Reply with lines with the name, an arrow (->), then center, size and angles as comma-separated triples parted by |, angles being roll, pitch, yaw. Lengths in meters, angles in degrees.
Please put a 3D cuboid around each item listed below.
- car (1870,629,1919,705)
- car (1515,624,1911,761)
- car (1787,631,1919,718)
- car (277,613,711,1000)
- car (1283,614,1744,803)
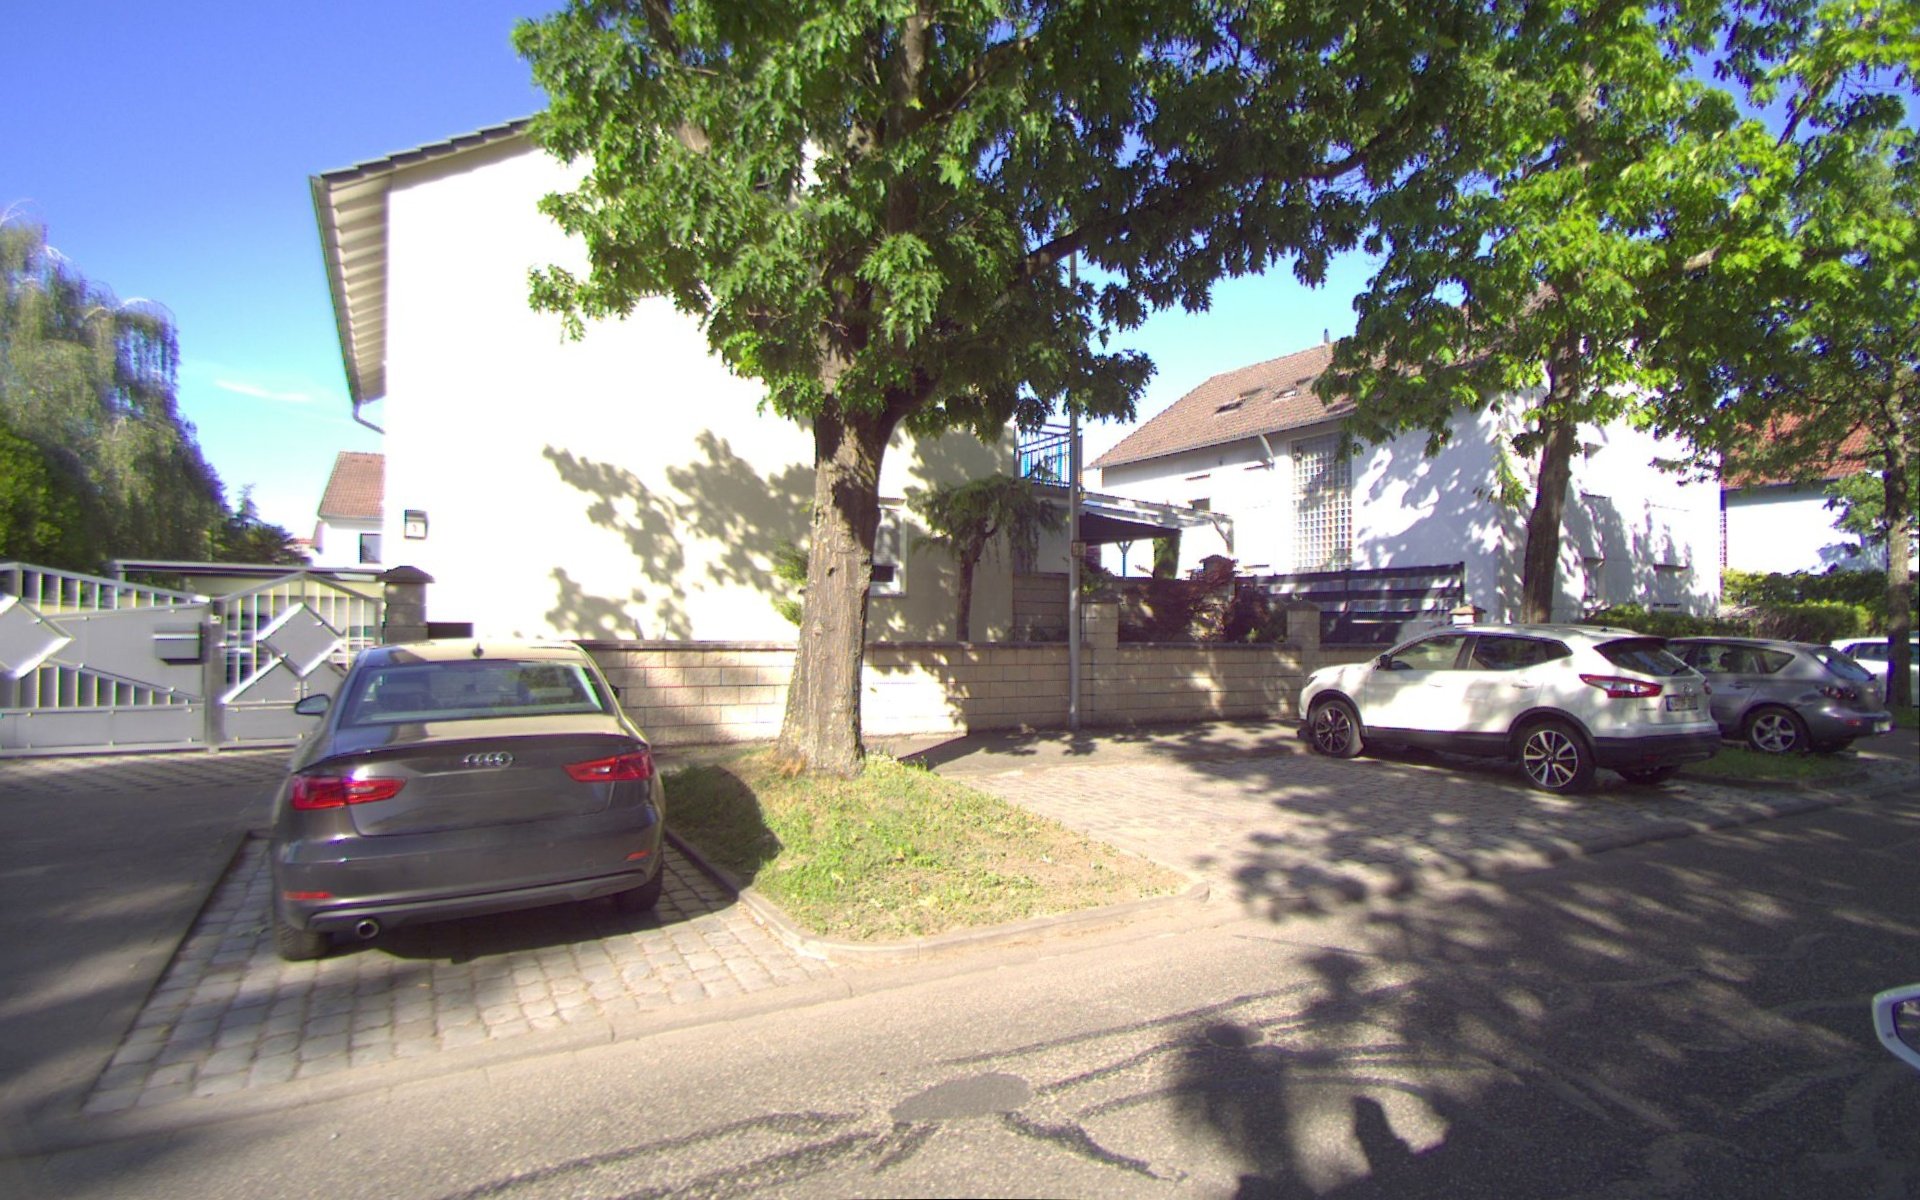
car -> 22.456, 1.458, 21.166 | 1.915, 1.652, 4.503 | 3, -3, -30
car -> 10.211, 1.153, 13.954 | 1.789, 1.442, 4.013 | 2, 0, -31
car -> 18.568, 1.427, 19.151 | 1.836, 1.616, 3.969 | 3, -3, -30
car -> -2.938, 0.868, 6.139 | 1.670, 1.491, 4.191 | 2, -2, -30
car -> 5.797, 1.000, 11.105 | 1.770, 1.588, 4.170 | 1, 0, -28
